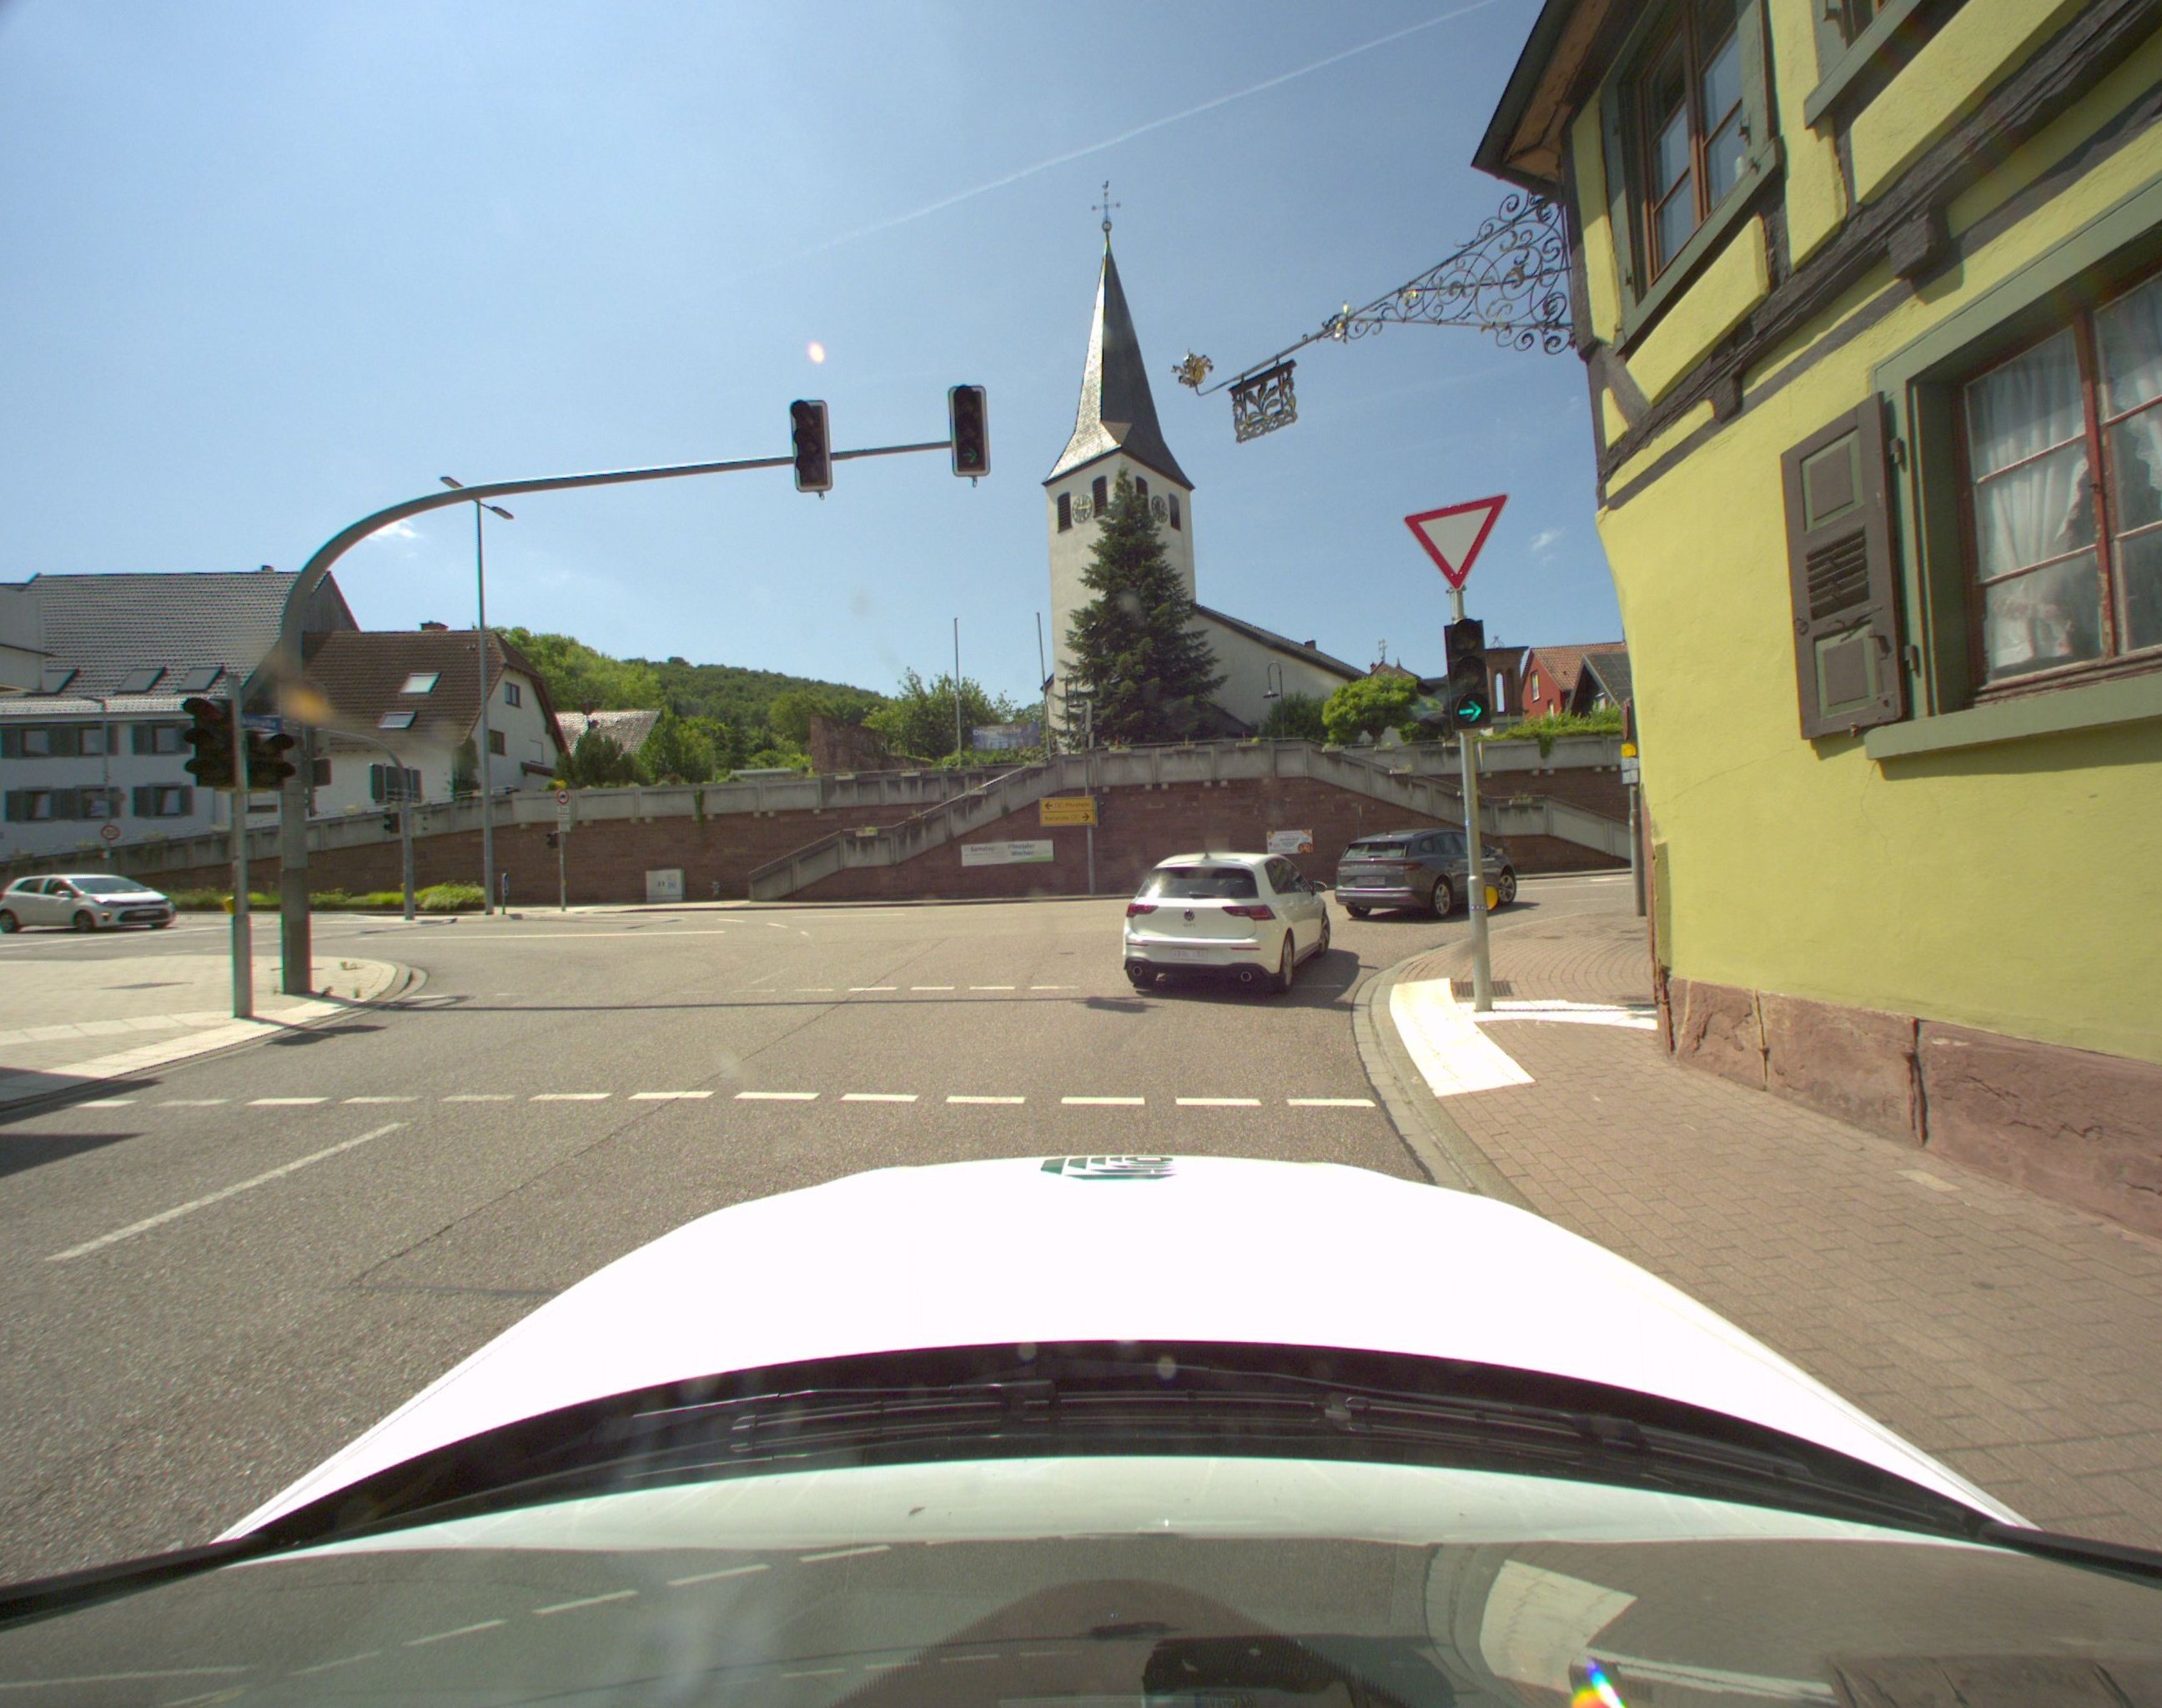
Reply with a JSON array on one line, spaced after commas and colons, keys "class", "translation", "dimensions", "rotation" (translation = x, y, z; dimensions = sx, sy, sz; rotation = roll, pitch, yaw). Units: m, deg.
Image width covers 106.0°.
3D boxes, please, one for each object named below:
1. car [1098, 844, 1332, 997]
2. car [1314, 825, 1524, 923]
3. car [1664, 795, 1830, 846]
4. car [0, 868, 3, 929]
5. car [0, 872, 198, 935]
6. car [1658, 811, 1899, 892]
[{"class": "car", "translation": [1.820, 0.649, 9.863], "dimensions": [1.766, 1.458, 3.885], "rotation": [-3, -1, 24]}, {"class": "car", "translation": [6.650, 0.301, 15.819], "dimensions": [4.348, 1.582, 1.933], "rotation": [-3, 1, -40]}, {"class": "car", "translation": [33.454, -1.640, 41.123], "dimensions": [5.938, 2.014, 2.532], "rotation": [-3, -2, 10]}, {"class": "car", "translation": [-32.316, 1.292, 22.113], "dimensions": [3.965, 1.714, 1.868], "rotation": [-1, 1, 7]}, {"class": "car", "translation": [-26.469, 1.295, 21.755], "dimensions": [3.966, 1.479, 1.868], "rotation": [-1, 1, 6]}, {"class": "car", "translation": [14.669, -0.054, 17.223], "dimensions": [3.850, 1.458, 1.783], "rotation": [-3, -1, -10]}]
